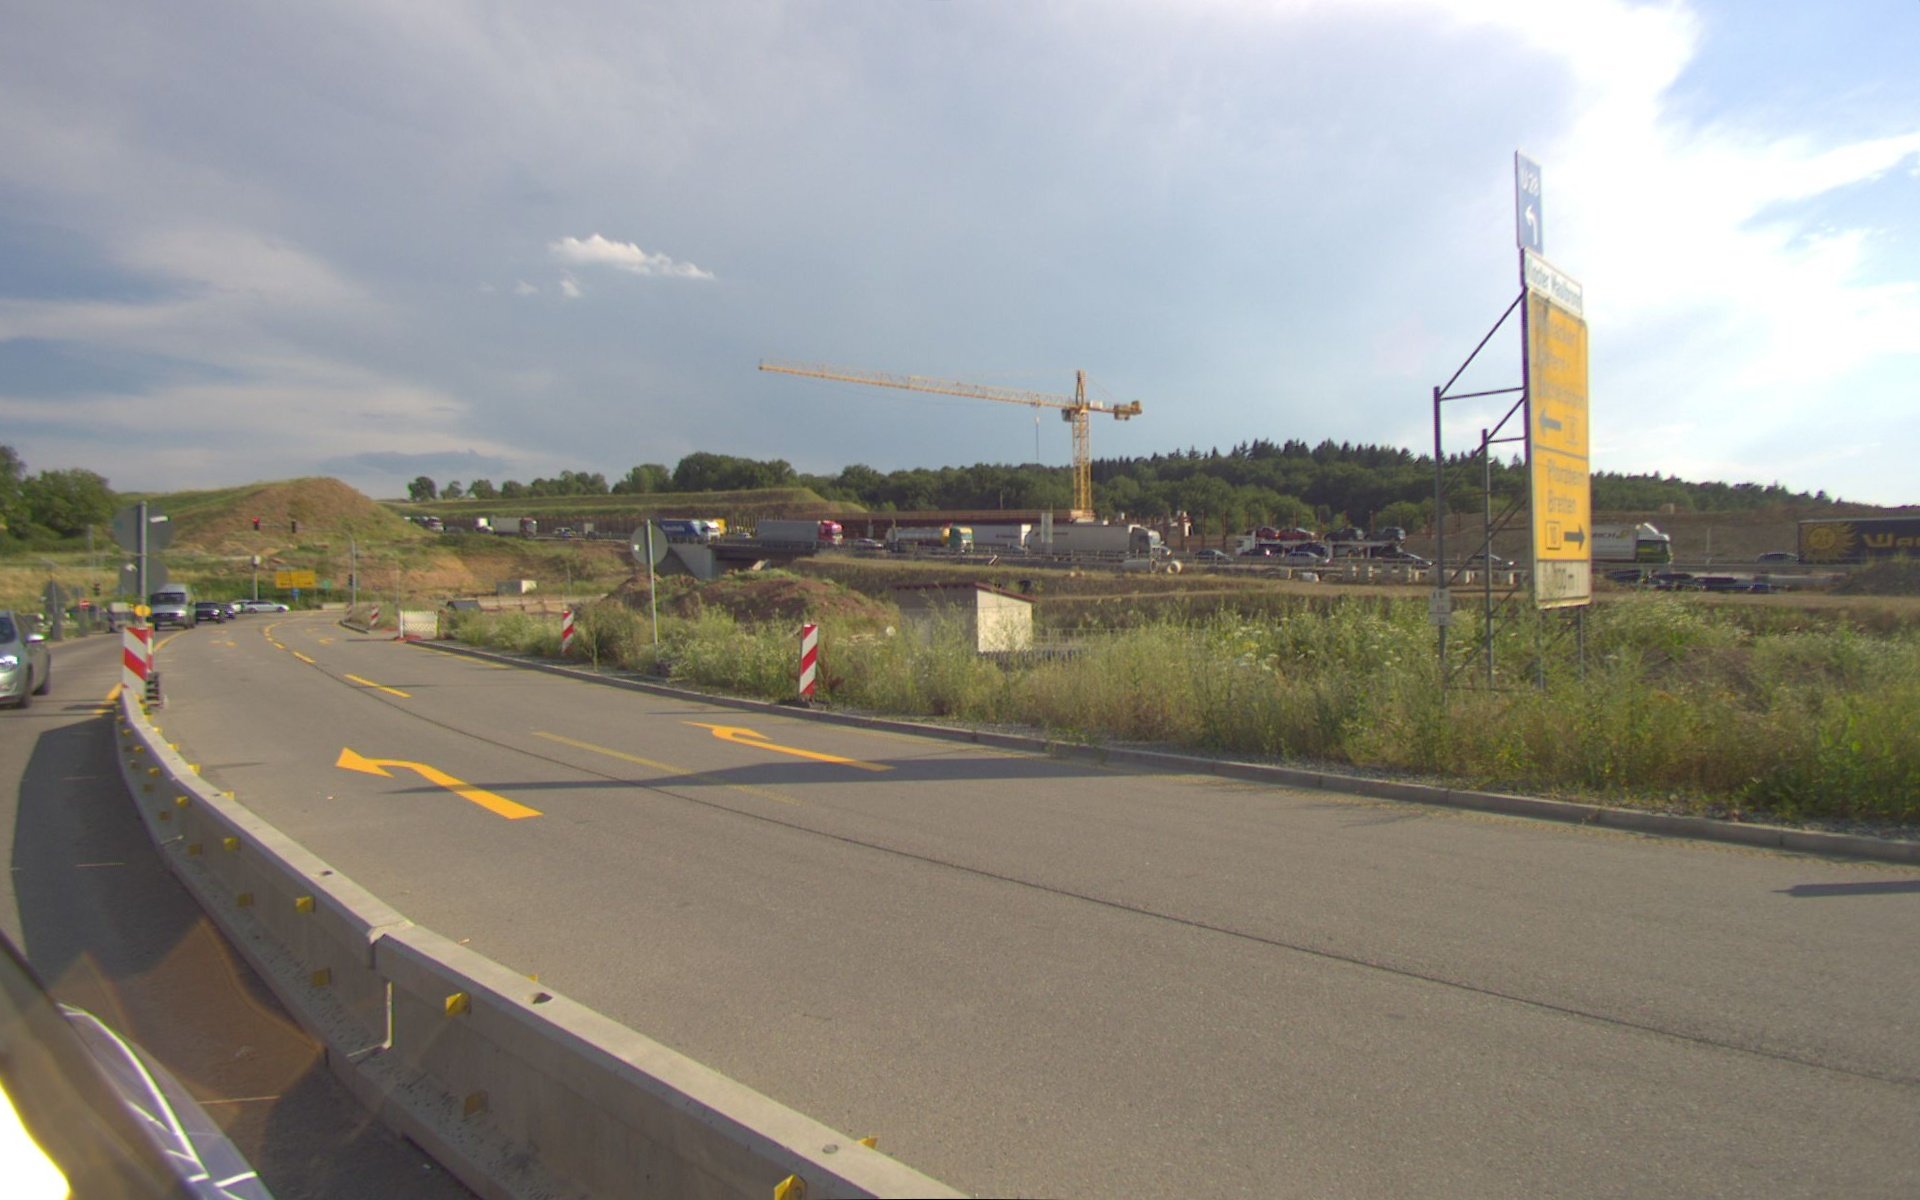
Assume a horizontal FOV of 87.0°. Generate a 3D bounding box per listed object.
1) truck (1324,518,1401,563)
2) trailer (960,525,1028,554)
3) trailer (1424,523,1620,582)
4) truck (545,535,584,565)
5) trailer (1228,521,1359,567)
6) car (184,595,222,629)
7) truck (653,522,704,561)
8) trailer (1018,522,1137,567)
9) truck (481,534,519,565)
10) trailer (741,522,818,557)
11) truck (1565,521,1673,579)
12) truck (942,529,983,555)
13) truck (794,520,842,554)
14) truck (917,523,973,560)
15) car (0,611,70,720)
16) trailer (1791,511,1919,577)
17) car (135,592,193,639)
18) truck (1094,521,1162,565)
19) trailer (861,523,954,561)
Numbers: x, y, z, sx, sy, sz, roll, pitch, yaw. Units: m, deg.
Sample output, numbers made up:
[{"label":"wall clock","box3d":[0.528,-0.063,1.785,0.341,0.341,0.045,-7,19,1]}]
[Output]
[{"label":"truck","box3d":[42.476,-6.220,107.068,3.067,4.346,6.903,-1,0,-43]},{"label":"trailer","box3d":[4.848,-8.789,148.101,11.169,3.540,1.945,-1,0,41]},{"label":"trailer","box3d":[47.487,-3.865,86.180,14.244,4.346,3.071,-1,0,41]},{"label":"truck","box3d":[-85.003,-10.642,217.373,10.670,5.915,3.131,-1,0,41]},{"label":"trailer","box3d":[36.966,-6.096,112.934,3.066,4.346,14.269,-1,0,-42]},{"label":"car","box3d":[-55.947,0.848,74.883,1.845,2.421,4.012,-1,0,-31]},{"label":"truck","box3d":[-47.059,-9.689,169.108,10.140,5.915,3.131,-1,0,41]},{"label":"trailer","box3d":[13.293,-6.240,115.989,14.244,4.346,3.071,-1,0,41]},{"label":"truck","box3d":[-96.008,-10.495,211.137,10.670,5.915,3.131,-1,0,41]},{"label":"trailer","box3d":[-27.251,-8.958,151.808,14.244,4.346,3.071,-1,0,41]},{"label":"truck","box3d":[52.955,-3.914,81.413,6.893,4.346,3.071,-1,0,41]},{"label":"truck","box3d":[0.363,-8.731,152.109,6.591,3.540,1.950,-1,0,41]},{"label":"truck","box3d":[-20.438,-9.018,145.850,6.893,4.346,3.071,-1,0,41]},{"label":"truck","box3d":[-1.995,-7.472,130.136,6.893,4.346,3.071,-1,0,41]},{"label":"car","box3d":[-14.947,0.942,15.198,1.719,1.495,4.264,-1,0,-32]},{"label":"trailer","box3d":[66.563,-3.914,69.772,14.244,4.346,3.071,-1,0,41]},{"label":"car","box3d":[-45.008,0.837,57.336,1.885,2.520,5.815,-1,0,-31]},{"label":"truck","box3d":[18.475,-6.219,111.495,6.893,4.346,3.071,-1,0,41]},{"label":"trailer","box3d":[-7.164,-7.599,134.619,14.244,4.346,3.071,-1,0,41]}]
